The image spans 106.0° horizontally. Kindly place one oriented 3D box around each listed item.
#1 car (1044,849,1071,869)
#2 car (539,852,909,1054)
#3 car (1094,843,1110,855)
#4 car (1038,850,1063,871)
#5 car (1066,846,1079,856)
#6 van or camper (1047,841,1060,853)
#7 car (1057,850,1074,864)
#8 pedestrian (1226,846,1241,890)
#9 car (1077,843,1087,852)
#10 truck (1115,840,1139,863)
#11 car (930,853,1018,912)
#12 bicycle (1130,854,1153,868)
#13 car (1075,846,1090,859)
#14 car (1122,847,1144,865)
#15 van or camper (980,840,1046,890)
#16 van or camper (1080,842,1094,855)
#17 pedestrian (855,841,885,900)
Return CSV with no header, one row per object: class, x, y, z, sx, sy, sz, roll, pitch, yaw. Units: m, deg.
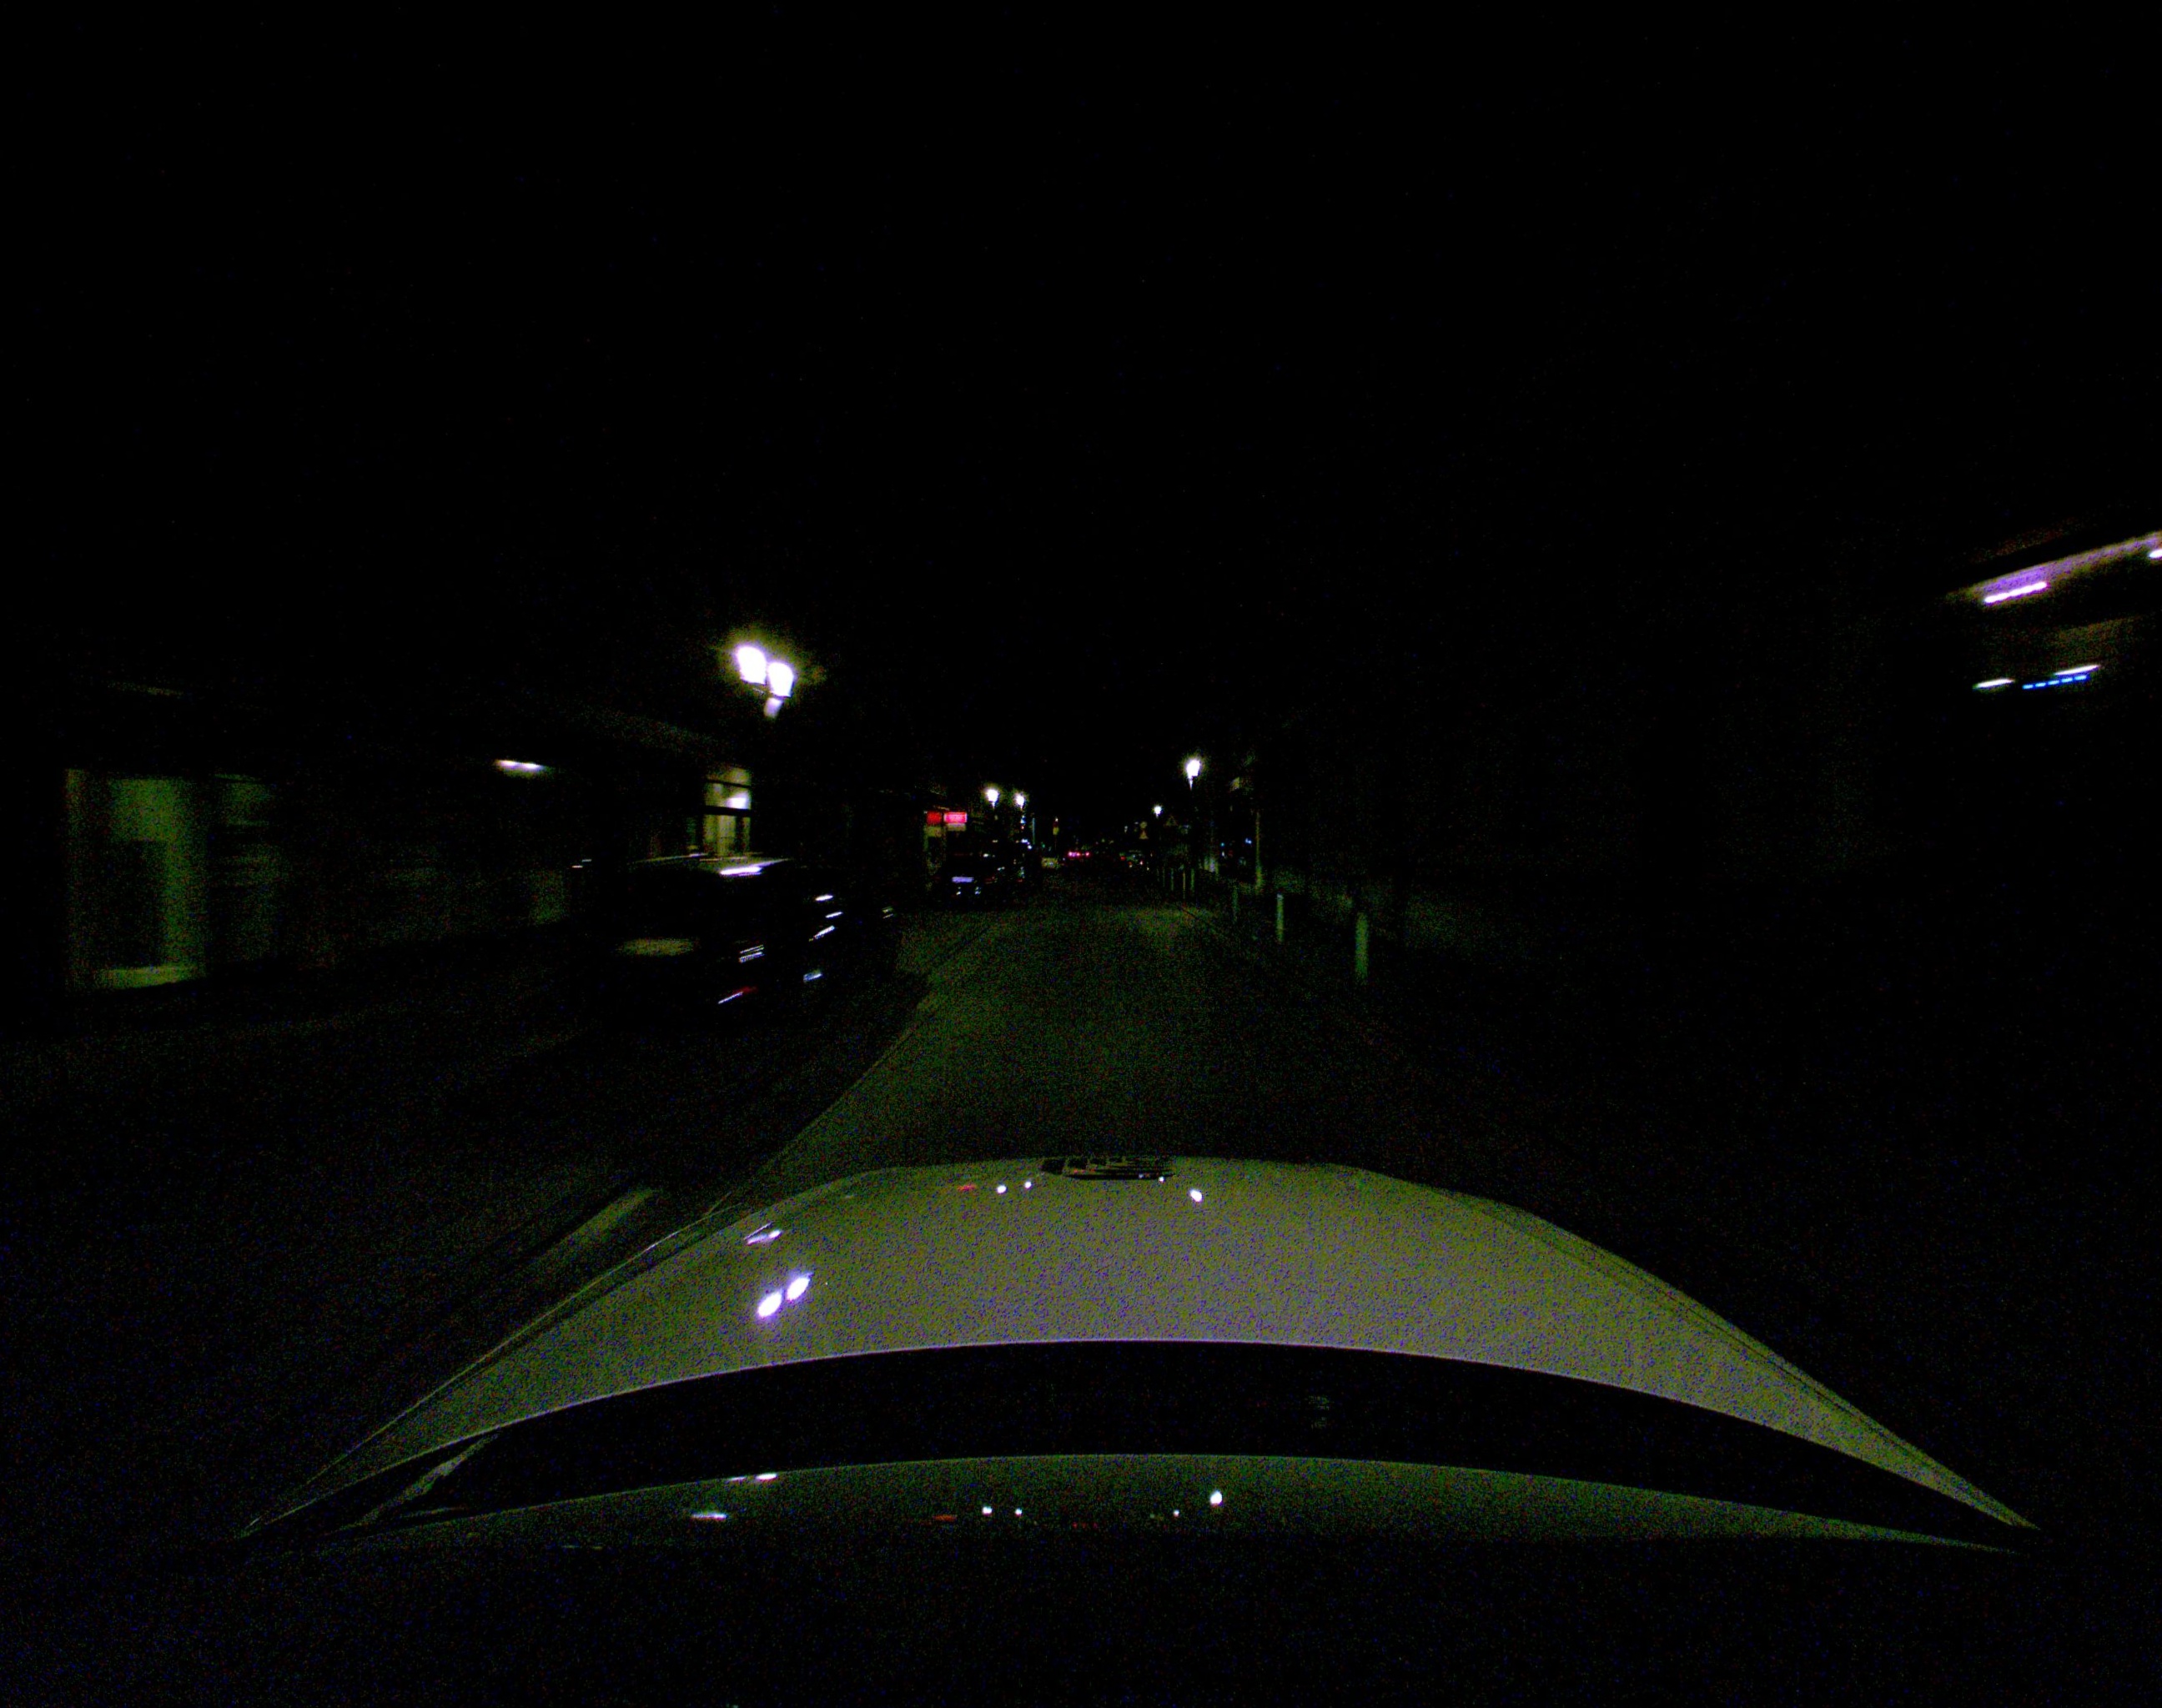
car,-1.852,0.396,66.154,2.013,1.488,5.007,2,1,0
car,-3.128,0.740,8.255,1.791,1.478,4.321,1,0,0
car,3.205,-0.782,125.194,1.812,1.828,4.339,-1,1,-5
car,-2.245,0.449,60.755,1.723,1.476,3.846,0,1,0
car,-1.396,-0.517,134.236,1.990,1.702,3.994,-1,0,-4
van or camper,-4.475,-1.127,132.281,1.864,2.011,4.253,1,0,-6
car,-1.846,0.315,94.312,1.671,1.543,4.223,0,1,-5
pedestrian,5.497,0.505,29.364,0.498,1.547,0.481,0,0,7
car,0.244,-1.403,170.445,1.836,1.901,3.840,-1,1,-4
truck,5.023,-0.307,89.930,2.328,2.312,5.781,-1,1,0
car,-2.829,0.702,22.455,1.710,1.412,4.387,1,0,2
bicycle,4.654,0.517,62.796,1.750,1.062,0.346,-1,0,-2
car,0.241,-0.182,119.681,1.989,1.823,3.995,-1,0,-3
car,4.736,0.188,74.531,1.782,1.491,4.061,-2,1,2
van or camper,-2.779,0.396,34.573,1.836,1.942,5.163,0,0,6
van or camper,1.160,-1.016,151.501,2.106,2.317,4.253,-2,1,-6
pedestrian,-6.369,0.484,24.659,0.619,1.745,1.023,0,0,1
